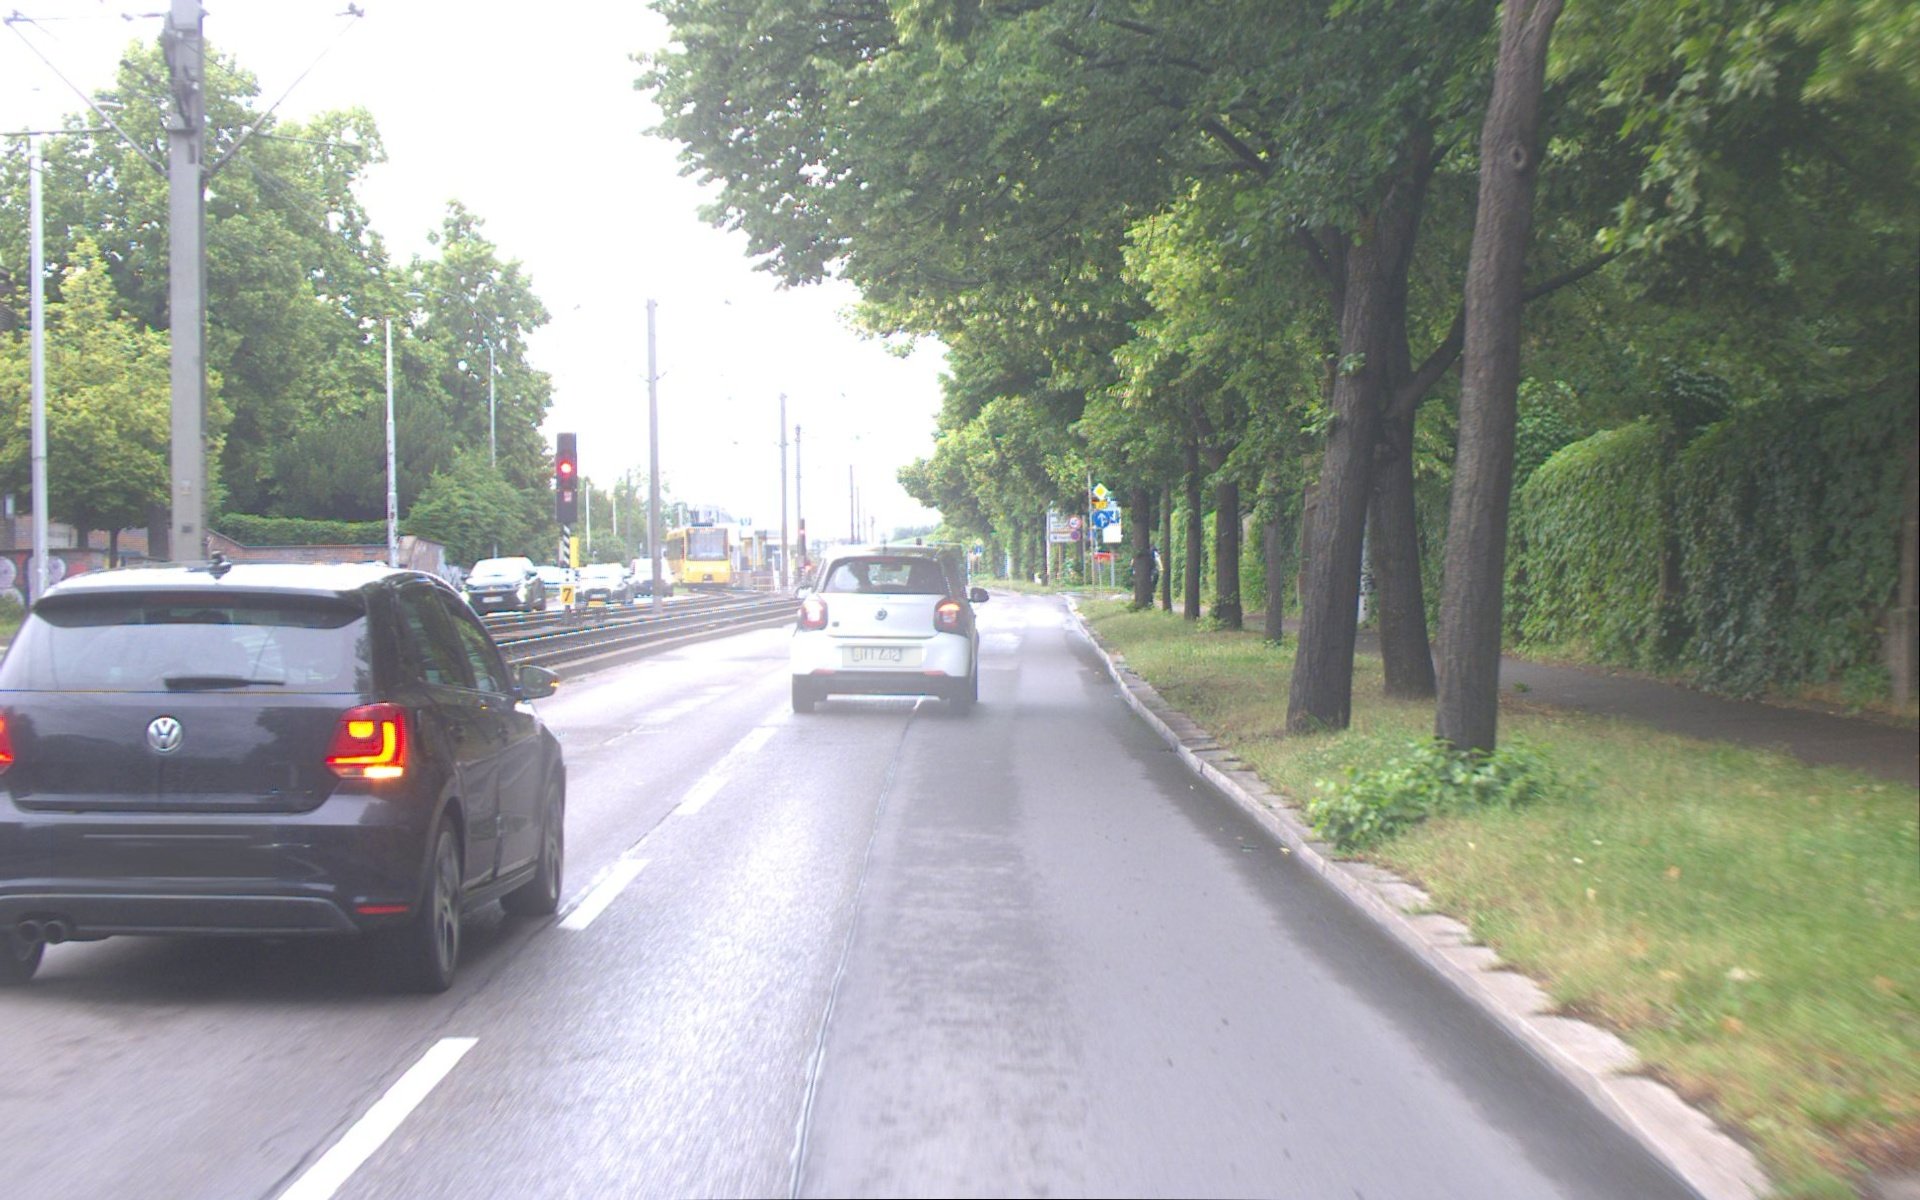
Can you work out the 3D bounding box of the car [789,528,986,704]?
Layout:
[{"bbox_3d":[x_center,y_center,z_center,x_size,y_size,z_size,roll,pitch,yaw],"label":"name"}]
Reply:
[{"bbox_3d":[-0.633,0.108,32.579,1.676,1.525,3.721,2,1,1],"label":"car"}]

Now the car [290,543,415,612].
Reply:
[{"bbox_3d":[-15.070,-0.583,85.550,2.013,1.650,4.616,-1,1,4],"label":"car"}]

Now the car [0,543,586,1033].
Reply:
[{"bbox_3d":[-2.500,0.555,12.714,1.794,1.480,3.965,1,1,0],"label":"car"}]

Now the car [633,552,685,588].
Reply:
[{"bbox_3d":[-14.408,-1.448,164.851,1.993,1.656,5.127,1,1,1],"label":"car"}]

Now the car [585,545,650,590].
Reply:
[{"bbox_3d":[-11.382,-1.095,114.423,1.681,1.456,3.608,-1,1,2],"label":"car"}]

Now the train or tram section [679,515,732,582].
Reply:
[{"bbox_3d":[-14.085,-2.840,190.356,2.831,3.593,9.272,1,1,-4],"label":"train or tram section"}]

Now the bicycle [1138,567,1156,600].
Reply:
[{"bbox_3d":[5.262,-0.470,96.604,0.407,0.899,2.099,-1,1,1],"label":"bicycle"}]

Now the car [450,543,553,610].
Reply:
[{"bbox_3d":[-11.848,-0.629,89.062,1.835,1.650,4.239,-1,1,4],"label":"car"}]

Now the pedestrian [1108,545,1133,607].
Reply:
[{"bbox_3d":[7.845,-1.176,167.826,1.164,2.967,0.948,1,1,1],"label":"pedestrian"}]

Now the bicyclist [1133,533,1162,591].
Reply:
[{"bbox_3d":[5.264,-1.074,96.598,0.763,1.610,0.999,-1,1,1],"label":"bicyclist"}]
